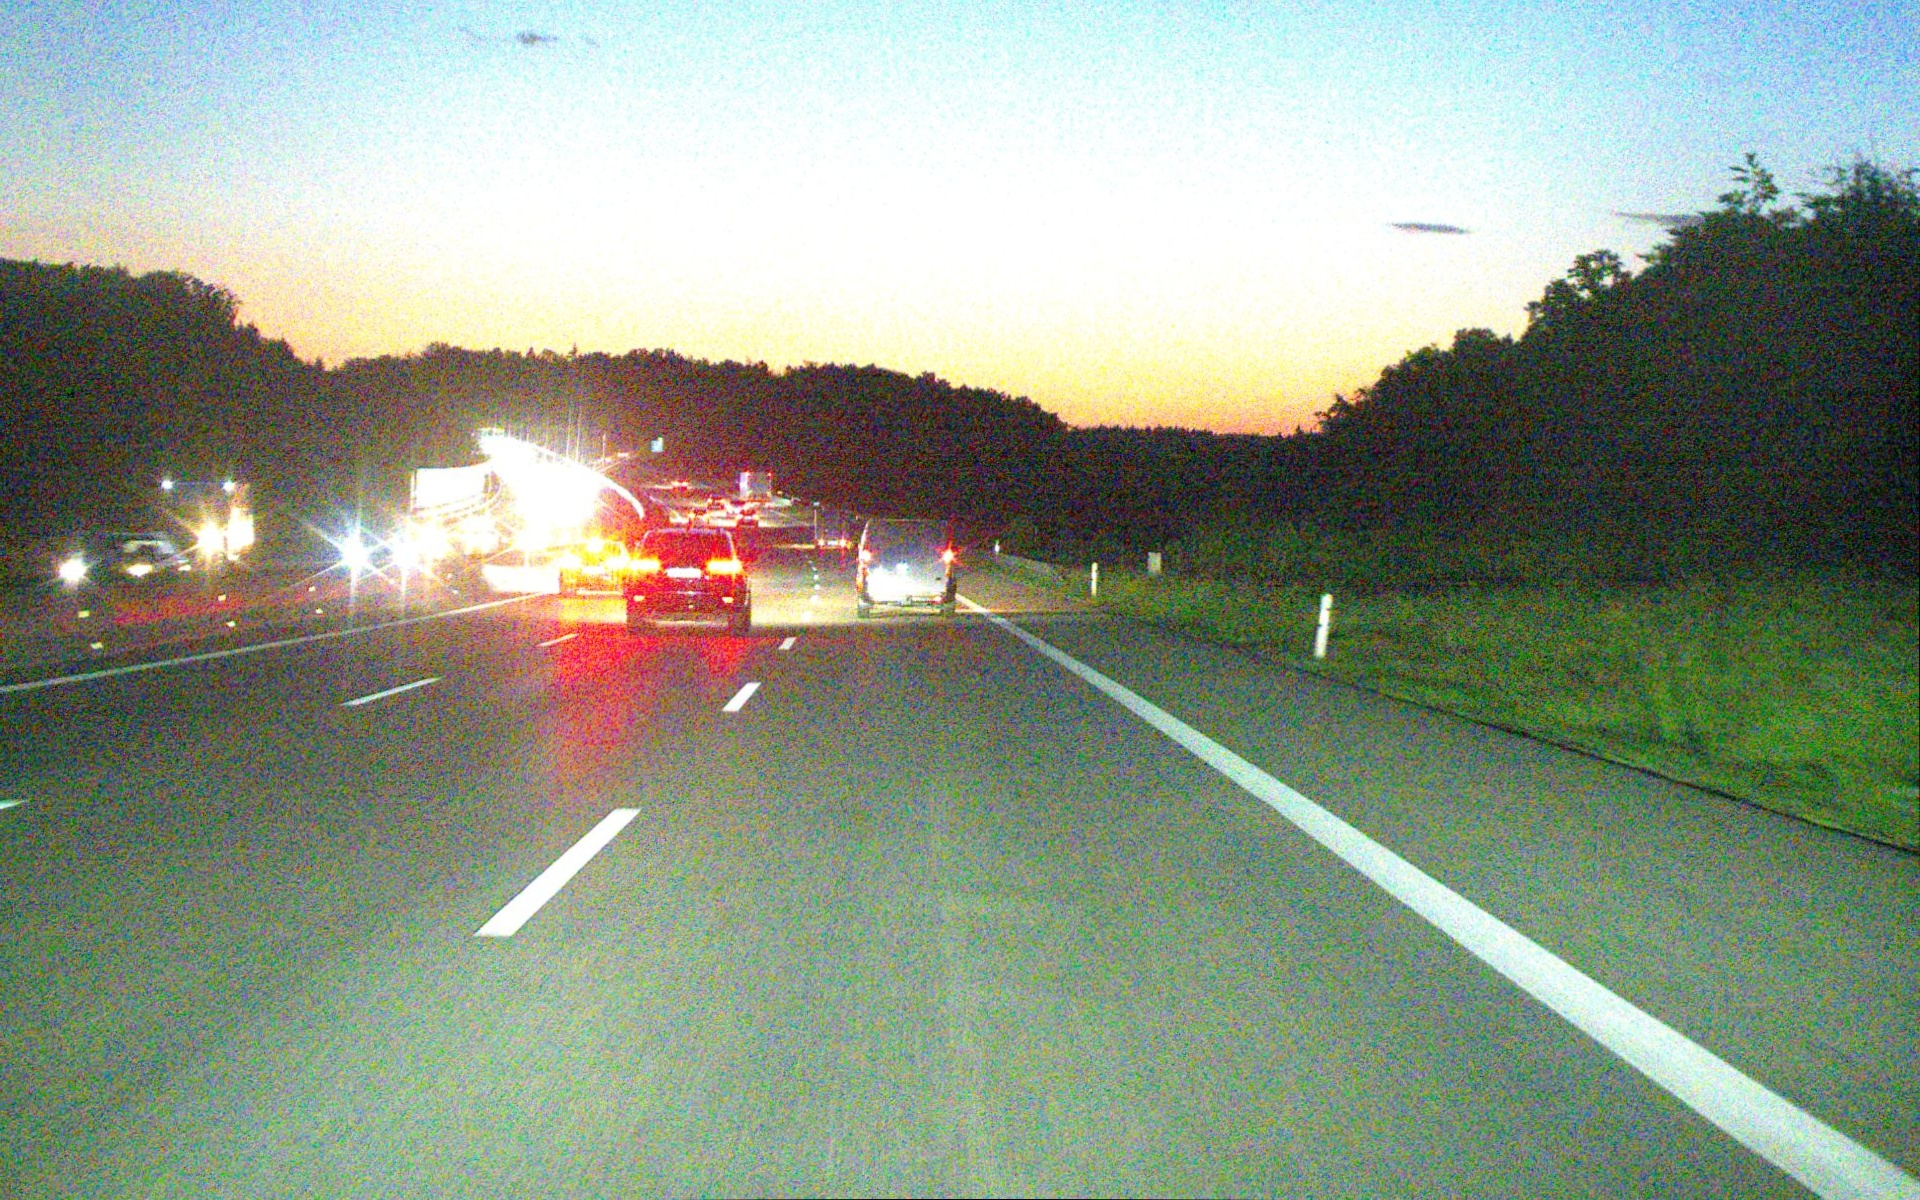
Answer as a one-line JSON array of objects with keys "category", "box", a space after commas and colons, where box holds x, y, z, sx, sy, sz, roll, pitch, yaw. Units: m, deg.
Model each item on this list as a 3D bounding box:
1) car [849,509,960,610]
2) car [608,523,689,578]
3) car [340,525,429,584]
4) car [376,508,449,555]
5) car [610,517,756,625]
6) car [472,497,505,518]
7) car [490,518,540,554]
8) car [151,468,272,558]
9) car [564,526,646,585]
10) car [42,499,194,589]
[{"category": "car", "box": [-1.149, -0.870, 70.239, 2.196, 1.948, 4.764, 0, 2, -1]}, {"category": "car", "box": [-9.574, -1.558, 105.869, 1.780, 1.481, 5.254, 4, 2, 2]}, {"category": "car", "box": [-17.659, -1.403, 105.676, 1.993, 1.728, 4.659, 1, 1, -1]}, {"category": "car", "box": [-22.803, -2.868, 143.309, 2.145, 1.879, 5.424, 1, 1, 0]}, {"category": "car", "box": [-4.576, -0.504, 57.590, 1.993, 1.715, 5.943, 0, 1, 0]}, {"category": "car", "box": [-33.140, -6.489, 241.599, 1.774, 1.424, 4.660, 1, 1, -2]}, {"category": "car", "box": [-21.991, -3.172, 169.982, 1.993, 1.728, 4.660, 1, 1, -2]}, {"category": "car", "box": [-25.381, -2.937, 116.929, 2.458, 2.926, 8.334, 1, 1, -2]}, {"category": "car", "box": [-8.884, -1.127, 86.446, 1.549, 1.426, 5.515, 0, 1, -1]}, {"category": "car", "box": [-17.071, -1.156, 69.902, 1.993, 1.728, 4.659, 1, 1, -1]}]
